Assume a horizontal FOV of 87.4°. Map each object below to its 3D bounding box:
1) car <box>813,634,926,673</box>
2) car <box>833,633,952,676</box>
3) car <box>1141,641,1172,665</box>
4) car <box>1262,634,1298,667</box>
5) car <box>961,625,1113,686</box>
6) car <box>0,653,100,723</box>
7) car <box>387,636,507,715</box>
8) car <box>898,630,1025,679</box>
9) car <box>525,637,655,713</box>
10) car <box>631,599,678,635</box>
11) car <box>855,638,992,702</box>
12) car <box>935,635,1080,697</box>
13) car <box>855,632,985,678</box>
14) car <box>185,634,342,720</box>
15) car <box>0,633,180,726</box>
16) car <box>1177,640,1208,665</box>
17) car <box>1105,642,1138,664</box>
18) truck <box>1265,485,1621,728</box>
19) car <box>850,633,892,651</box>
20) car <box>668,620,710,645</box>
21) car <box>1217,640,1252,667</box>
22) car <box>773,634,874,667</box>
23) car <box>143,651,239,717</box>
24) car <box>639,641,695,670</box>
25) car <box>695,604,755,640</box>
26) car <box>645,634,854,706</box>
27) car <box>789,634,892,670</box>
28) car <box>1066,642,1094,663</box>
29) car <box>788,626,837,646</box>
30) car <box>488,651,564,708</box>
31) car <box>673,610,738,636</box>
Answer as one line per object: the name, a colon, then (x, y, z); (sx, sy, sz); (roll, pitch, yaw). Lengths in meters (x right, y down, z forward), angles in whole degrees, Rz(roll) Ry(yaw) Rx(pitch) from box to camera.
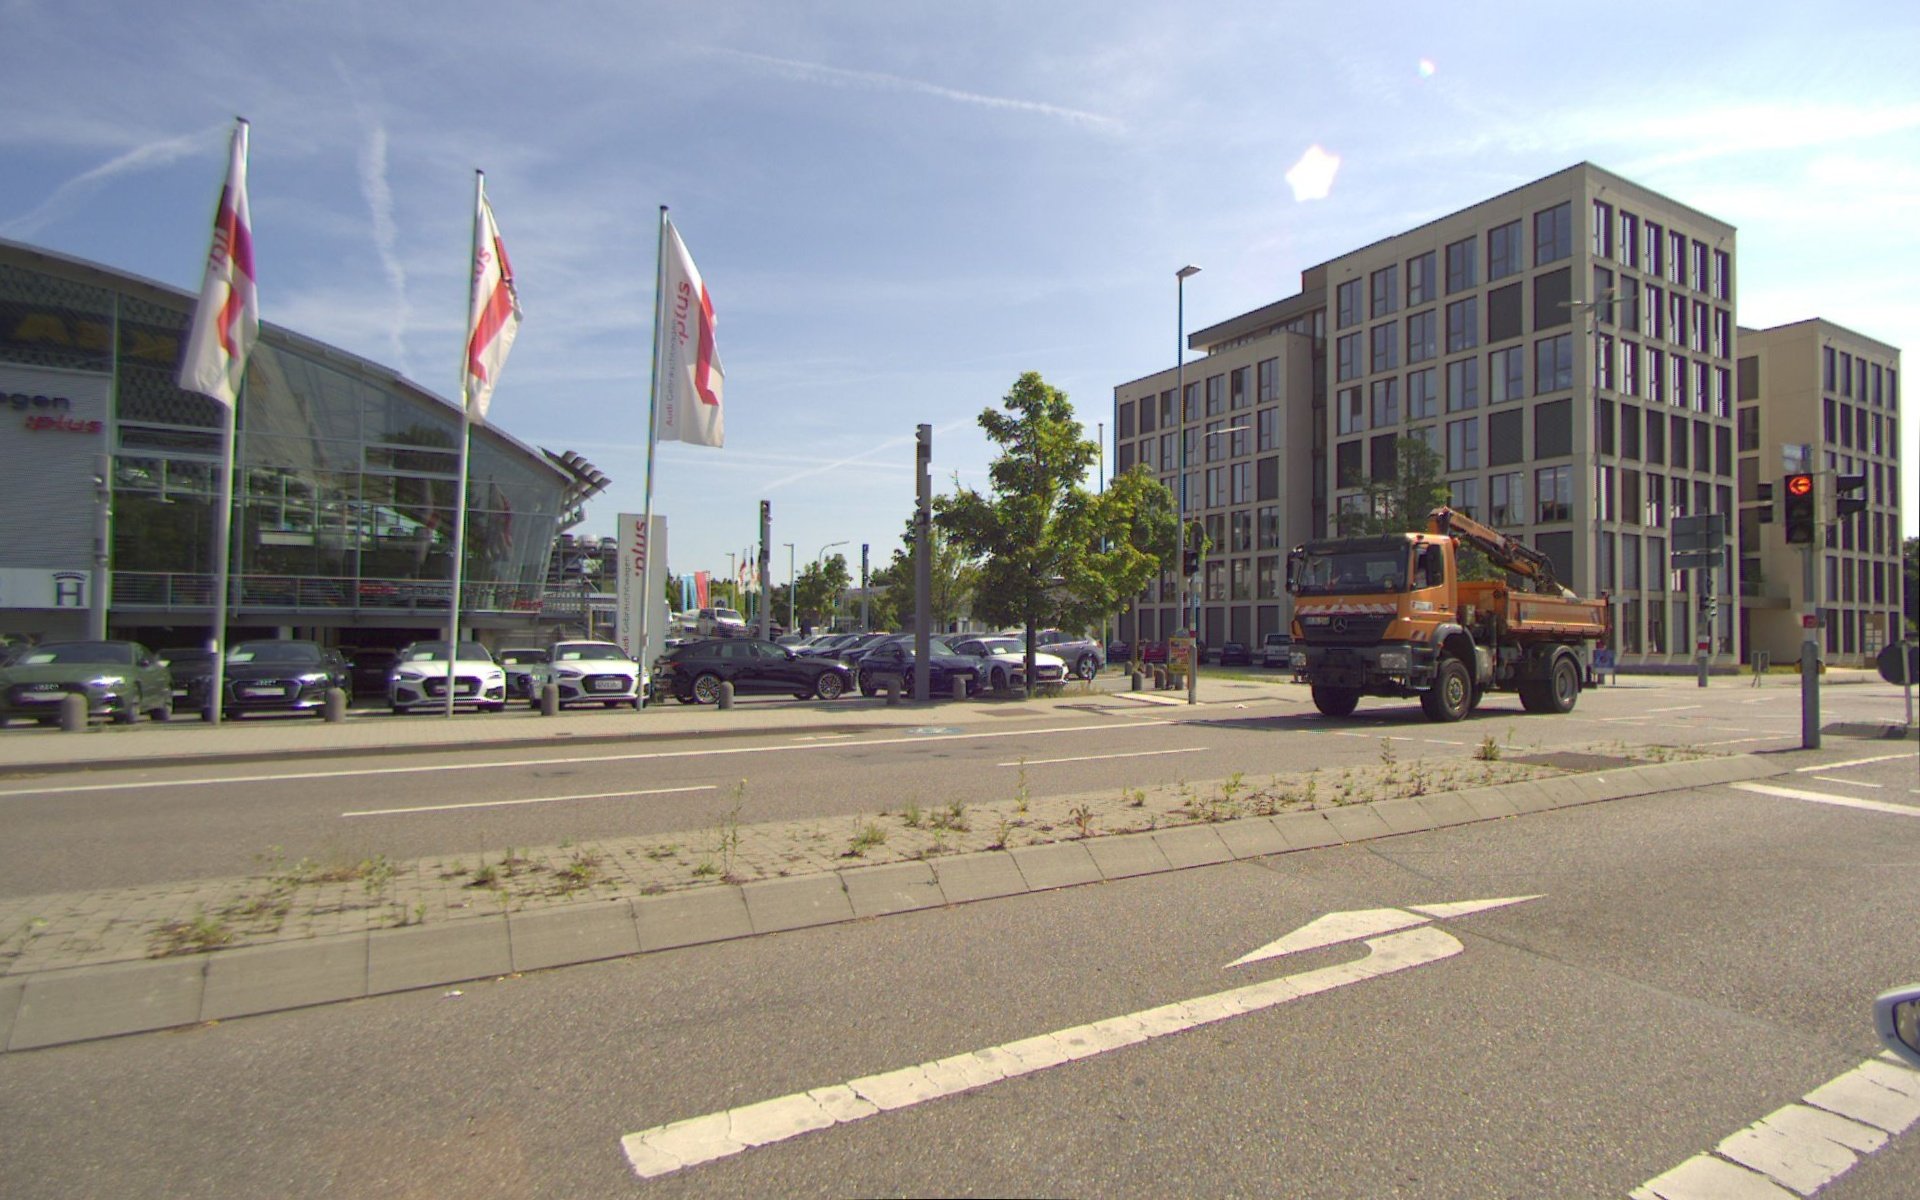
car: (-3.905, 2.282, 43.673); (4.578, 1.461, 1.779); (-1, -1, -31)
car: (-2.751, 2.191, 41.352); (4.620, 1.537, 1.769); (-1, -1, -31)
car: (13.216, 3.517, 67.394); (1.655, 1.499, 4.002); (0, -2, 17)
car: (18.546, 2.895, 58.397); (1.860, 1.845, 4.816); (0, -2, 16)
car: (2.469, 1.713, 31.876); (4.540, 1.635, 1.805); (-1, -1, -30)
car: (-22.204, 2.054, 24.210); (1.570, 1.493, 3.491); (1, -2, -30)
car: (-9.915, 1.452, 19.284); (1.846, 1.336, 3.970); (1, -5, -30)
car: (0.069, 1.953, 36.801); (4.325, 1.564, 1.779); (-1, -1, -31)
car: (-7.667, 1.532, 20.608); (1.856, 1.387, 4.055); (1, -5, -30)
car: (-21.097, 1.183, 69.180); (2.063, 2.373, 5.510); (1, -1, -29)
car: (-0.979, 1.647, 24.630); (1.744, 1.421, 3.815); (2, -2, -31)
car: (1.132, 1.655, 26.183); (1.876, 1.451, 4.356); (1, -2, -28)
car: (-1.518, 2.079, 38.795); (4.722, 1.525, 1.779); (-1, -1, -31)
car: (-12.166, 1.361, 17.800); (1.815, 1.336, 3.972); (1, -5, -29)
car: (-14.450, 1.311, 16.629); (1.833, 1.352, 4.157); (1, -5, -30)
car: (14.977, 3.339, 64.611); (1.628, 1.517, 3.965); (0, -2, 17)
car: (11.247, 3.654, 69.678); (1.686, 1.434, 4.002); (0, -2, 17)
truck: (9.183, 0.226, 18.726); (7.504, 3.728, 2.728); (2, -2, -35)
car: (-9.635, 4.551, 109.042); (4.189, 1.965, 1.885); (2, -2, -30)
car: (-18.976, 2.250, 70.317); (1.976, 1.595, 3.956); (1, -1, -29)
car: (16.714, 3.207, 61.088); (1.772, 1.533, 4.000); (-1, -2, 20)
car: (-6.560, 2.404, 48.399); (4.506, 1.461, 1.779); (0, -1, -31)
car: (-19.590, 2.097, 25.712); (1.506, 1.493, 3.490); (1, -2, -31)
car: (-15.401, 2.875, 52.996); (1.762, 1.461, 4.028); (0, -2, -1)
car: (-14.122, 1.289, 60.241); (2.066, 1.932, 4.508); (6, -4, -31)
car: (-4.803, 1.553, 23.078); (4.373, 1.515, 1.789); (2, -2, -30)
car: (-5.442, 2.355, 45.920); (4.351, 1.461, 1.779); (-1, -1, -31)
car: (8.392, 3.666, 70.542); (1.638, 1.434, 3.617); (0, -2, 1)
car: (-19.062, 4.663, 129.521); (5.828, 2.463, 2.360); (2, -2, -27)
car: (-12.904, 2.298, 29.778); (1.641, 1.493, 3.490); (1, -2, -31)
car: (-20.443, 1.888, 80.734); (4.697, 2.040, 1.983); (2, -2, -32)
